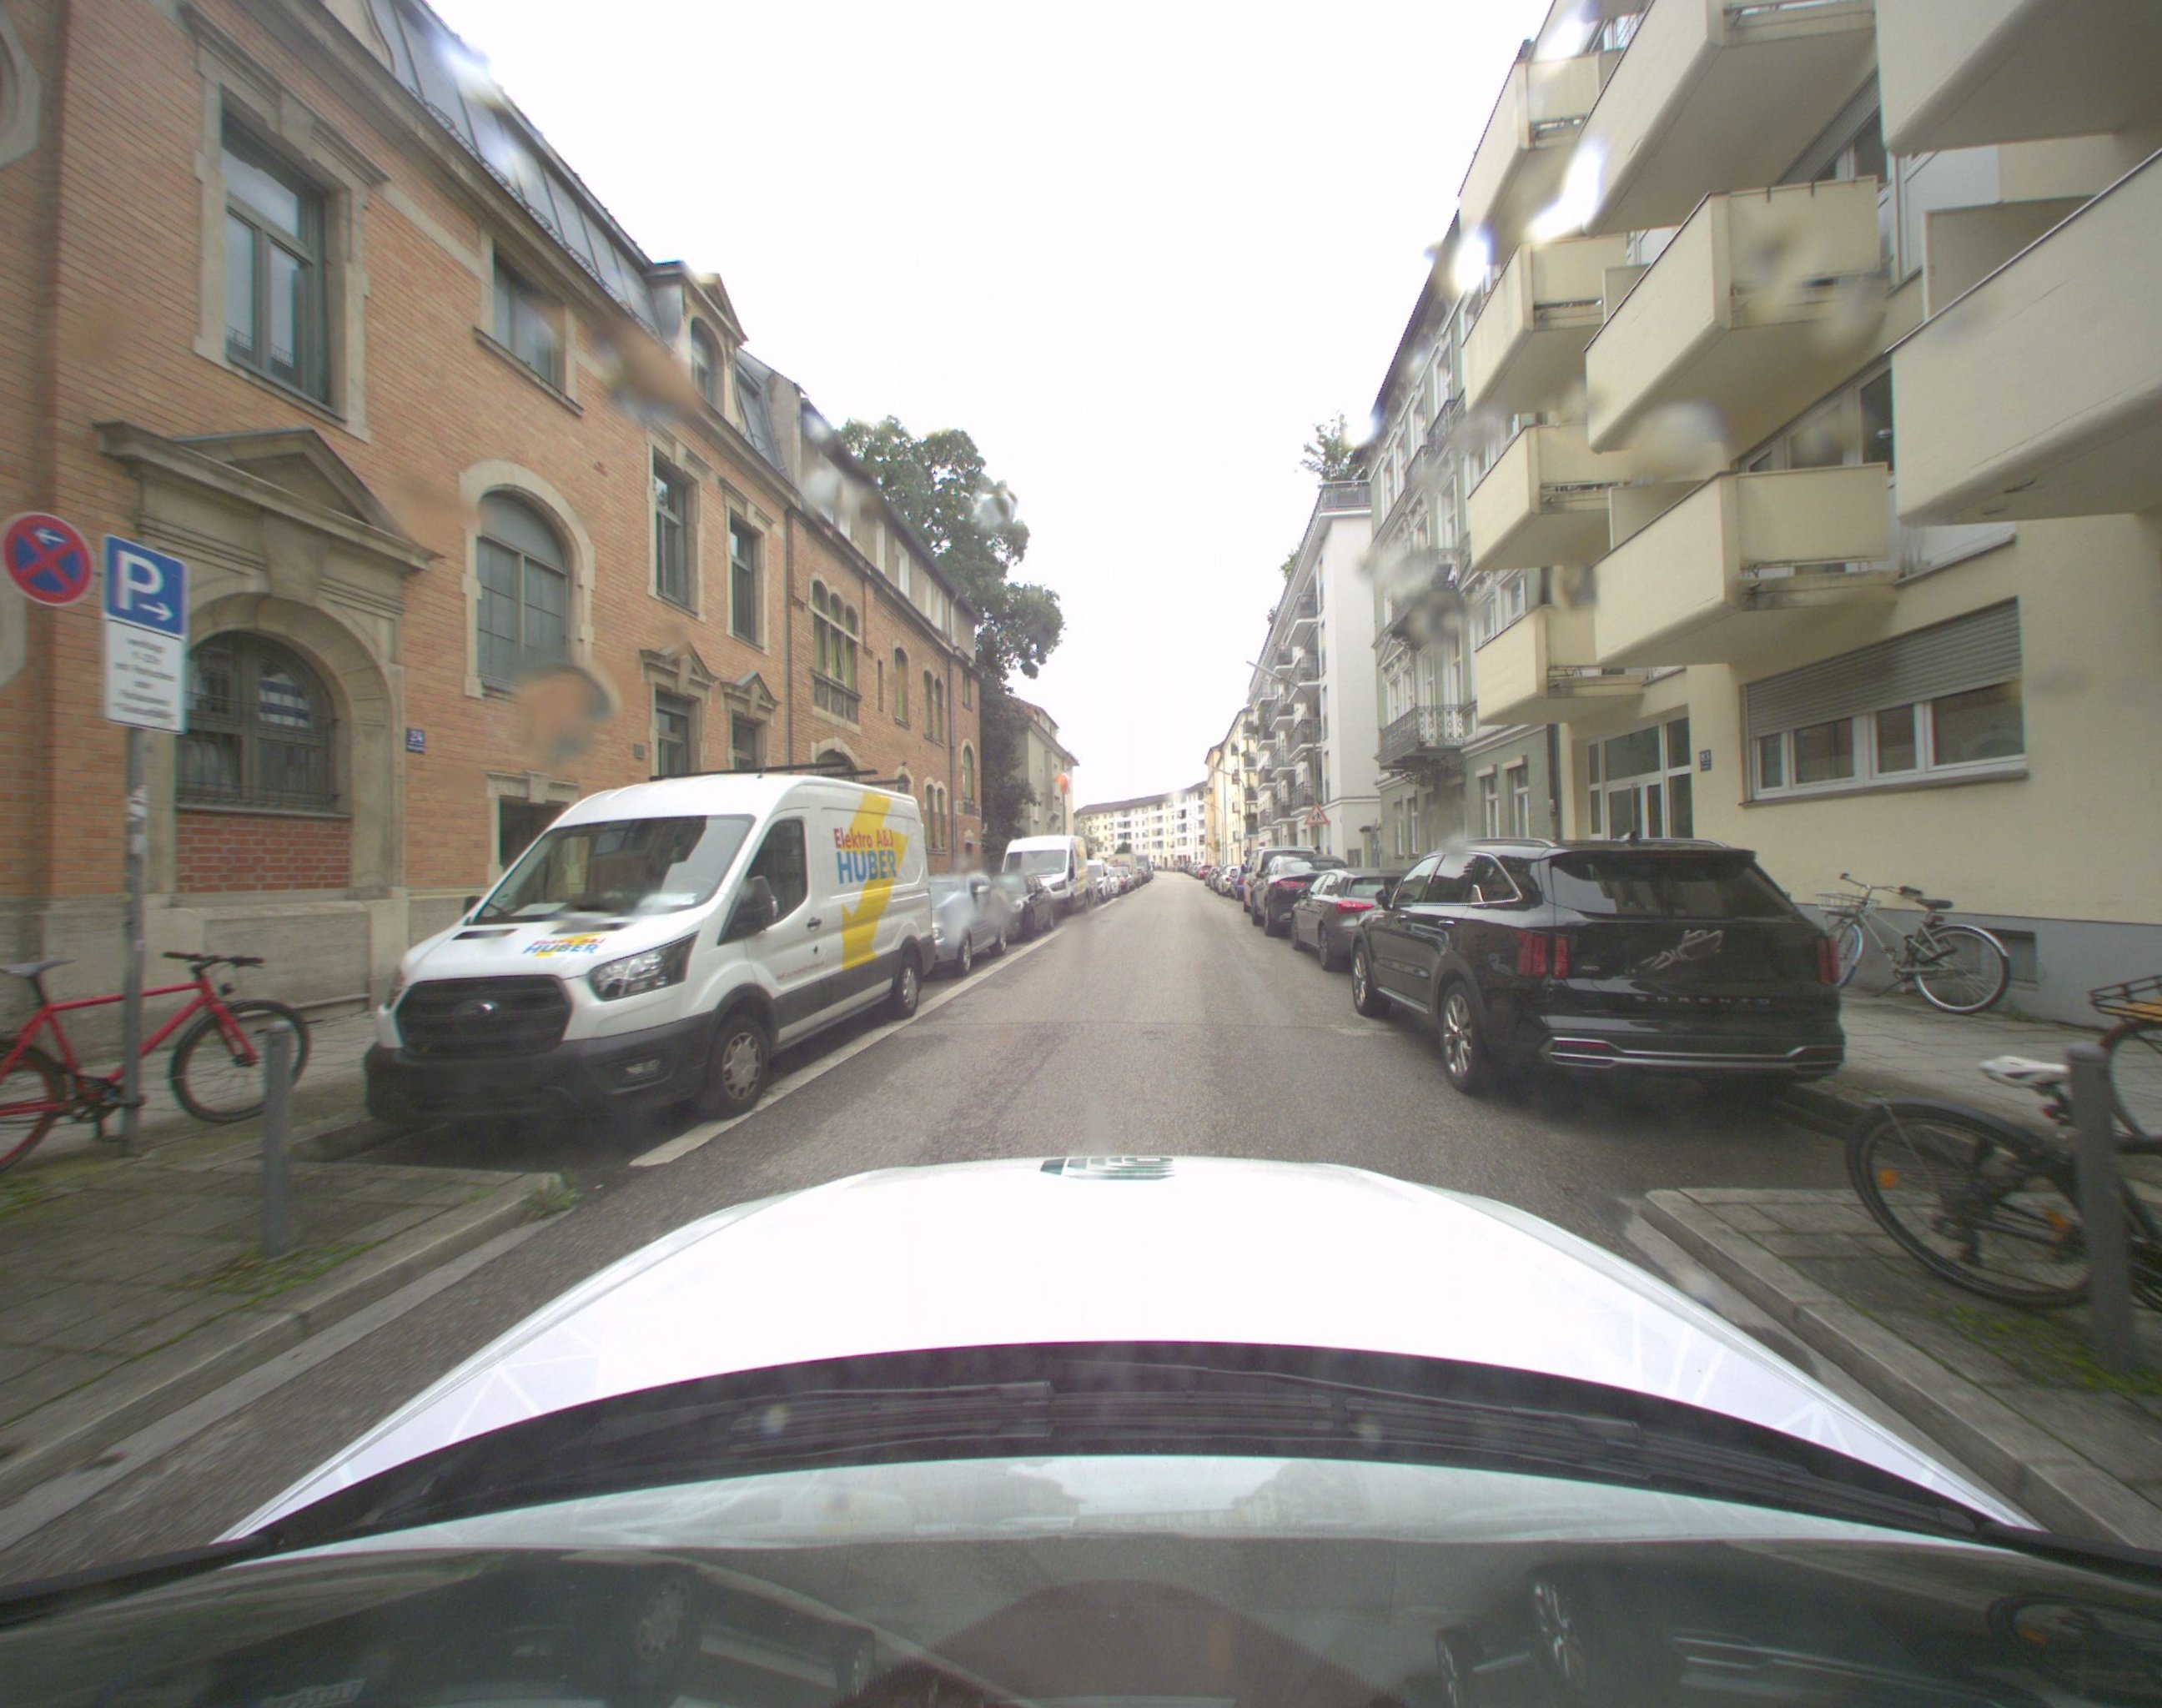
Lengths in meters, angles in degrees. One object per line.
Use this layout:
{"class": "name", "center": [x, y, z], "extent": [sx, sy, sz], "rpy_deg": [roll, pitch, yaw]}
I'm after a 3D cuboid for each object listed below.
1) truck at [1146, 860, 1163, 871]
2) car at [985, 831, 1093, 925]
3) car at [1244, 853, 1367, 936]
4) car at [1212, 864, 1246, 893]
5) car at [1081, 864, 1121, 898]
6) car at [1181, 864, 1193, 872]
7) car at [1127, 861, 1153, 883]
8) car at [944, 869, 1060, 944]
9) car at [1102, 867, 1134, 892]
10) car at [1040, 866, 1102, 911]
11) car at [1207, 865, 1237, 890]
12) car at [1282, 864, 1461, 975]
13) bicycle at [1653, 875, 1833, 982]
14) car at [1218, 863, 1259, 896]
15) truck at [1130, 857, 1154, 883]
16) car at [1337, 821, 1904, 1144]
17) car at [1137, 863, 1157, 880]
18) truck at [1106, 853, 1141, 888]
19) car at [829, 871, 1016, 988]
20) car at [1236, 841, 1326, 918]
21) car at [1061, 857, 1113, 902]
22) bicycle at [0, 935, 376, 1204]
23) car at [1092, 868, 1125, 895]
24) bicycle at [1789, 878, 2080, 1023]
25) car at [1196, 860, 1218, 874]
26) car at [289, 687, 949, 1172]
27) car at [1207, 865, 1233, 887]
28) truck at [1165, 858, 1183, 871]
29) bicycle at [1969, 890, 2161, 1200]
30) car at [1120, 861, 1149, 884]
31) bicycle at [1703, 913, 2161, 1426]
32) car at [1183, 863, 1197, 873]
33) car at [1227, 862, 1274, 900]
{"class": "truck", "center": [15.693, 2.515, 174.116], "extent": [2.620, 2.300, 5.424], "rpy_deg": [-1, -1, -8]}
{"class": "car", "center": [-1.043, 0.667, 23.426], "extent": [2.125, 2.349, 5.380], "rpy_deg": [-2, -1, 7]}
{"class": "car", "center": [4.819, 0.839, 18.185], "extent": [1.850, 1.551, 4.761], "rpy_deg": [-2, -1, 6]}
{"class": "car", "center": [8.028, 1.315, 44.504], "extent": [1.640, 1.434, 4.008], "rpy_deg": [-2, -1, 8]}
{"class": "car", "center": [1.039, 1.320, 40.459], "extent": [1.838, 1.540, 4.003], "rpy_deg": [-2, -1, 3]}
{"class": "car", "center": [17.997, 2.396, 138.664], "extent": [1.775, 1.385, 4.003], "rpy_deg": [-1, -1, 3]}
{"class": "car", "center": [5.233, 1.595, 71.953], "extent": [1.983, 1.762, 4.390], "rpy_deg": [-2, -1, 7]}
{"class": "car", "center": [-1.632, 1.097, 18.182], "extent": [1.689, 1.431, 3.838], "rpy_deg": [-3, -1, 8]}
{"class": "car", "center": [2.338, 1.570, 50.833], "extent": [1.787, 1.469, 3.872], "rpy_deg": [-2, -1, 5]}
{"class": "car", "center": [-0.286, 1.199, 29.437], "extent": [1.735, 1.445, 4.006], "rpy_deg": [-2, -1, 6]}
{"class": "car", "center": [8.675, 1.431, 50.428], "extent": [1.640, 1.434, 4.008], "rpy_deg": [-2, -1, 8]}
{"class": "car", "center": [4.370, 0.895, 12.958], "extent": [1.718, 1.459, 4.424], "rpy_deg": [0, -1, 6]}
{"class": "bicycle", "center": [7.274, 0.772, 9.072], "extent": [0.577, 1.054, 1.763], "rpy_deg": [-2, -1, 2]}
{"class": "car", "center": [7.390, 1.194, 38.379], "extent": [1.640, 1.434, 4.008], "rpy_deg": [-2, -1, 8]}
{"class": "truck", "center": [5.935, 1.542, 78.518], "extent": [1.982, 2.319, 5.420], "rpy_deg": [-2, -1, 7]}
{"class": "car", "center": [3.478, 0.725, 6.498], "extent": [1.840, 1.639, 4.557], "rpy_deg": [-2, -1, 6]}
{"class": "car", "center": [7.317, 1.944, 89.976], "extent": [1.983, 1.762, 4.390], "rpy_deg": [-2, -1, 7]}
{"class": "truck", "center": [3.073, 1.151, 57.605], "extent": [1.982, 2.319, 5.420], "rpy_deg": [-2, -1, 7]}
{"class": "car", "center": [-2.311, 1.057, 12.965], "extent": [1.680, 1.454, 4.004], "rpy_deg": [-4, -1, 7]}
{"class": "car", "center": [5.735, 0.731, 23.873], "extent": [1.860, 1.968, 4.824], "rpy_deg": [-2, -1, 6]}
{"class": "car", "center": [0.315, 1.046, 33.879], "extent": [1.812, 1.711, 4.005], "rpy_deg": [-2, -1, 4]}
{"class": "bicycle", "center": [-4.936, 1.029, 4.279], "extent": [0.576, 1.054, 1.900], "rpy_deg": [-1, -1, 11]}
{"class": "car", "center": [1.569, 1.522, 45.203], "extent": [1.744, 1.368, 4.003], "rpy_deg": [-2, -1, 3]}
{"class": "bicycle", "center": [7.182, 0.749, 7.013], "extent": [0.577, 1.054, 1.838], "rpy_deg": [-2, -1, 2]}
{"class": "car", "center": [12.970, 1.296, 83.909], "extent": [1.775, 1.385, 4.003], "rpy_deg": [-1, -1, 3]}
{"class": "car", "center": [-2.944, 0.472, 7.029], "extent": [1.982, 2.468, 5.481], "rpy_deg": [-3, -2, 7]}
{"class": "car", "center": [9.656, 1.544, 56.672], "extent": [1.640, 1.434, 4.293], "rpy_deg": [-2, -1, 8]}
{"class": "truck", "center": [17.356, 1.931, 152.338], "extent": [2.224, 2.300, 5.276], "rpy_deg": [-1, -1, -7]}
{"class": "bicycle", "center": [4.368, 0.736, 2.867], "extent": [0.576, 1.154, 1.968], "rpy_deg": [-2, -1, 11]}
{"class": "car", "center": [4.345, 1.472, 65.410], "extent": [1.983, 1.762, 4.390], "rpy_deg": [-2, -1, 7]}
{"class": "bicycle", "center": [2.846, 0.798, 2.244], "extent": [0.579, 1.154, 1.959], "rpy_deg": [-2, -1, -6]}
{"class": "car", "center": [17.065, 2.172, 127.627], "extent": [1.775, 1.385, 4.003], "rpy_deg": [-1, -1, 3]}
{"class": "car", "center": [6.997, 1.104, 33.919], "extent": [1.600, 1.434, 3.626], "rpy_deg": [-2, -1, 7]}
